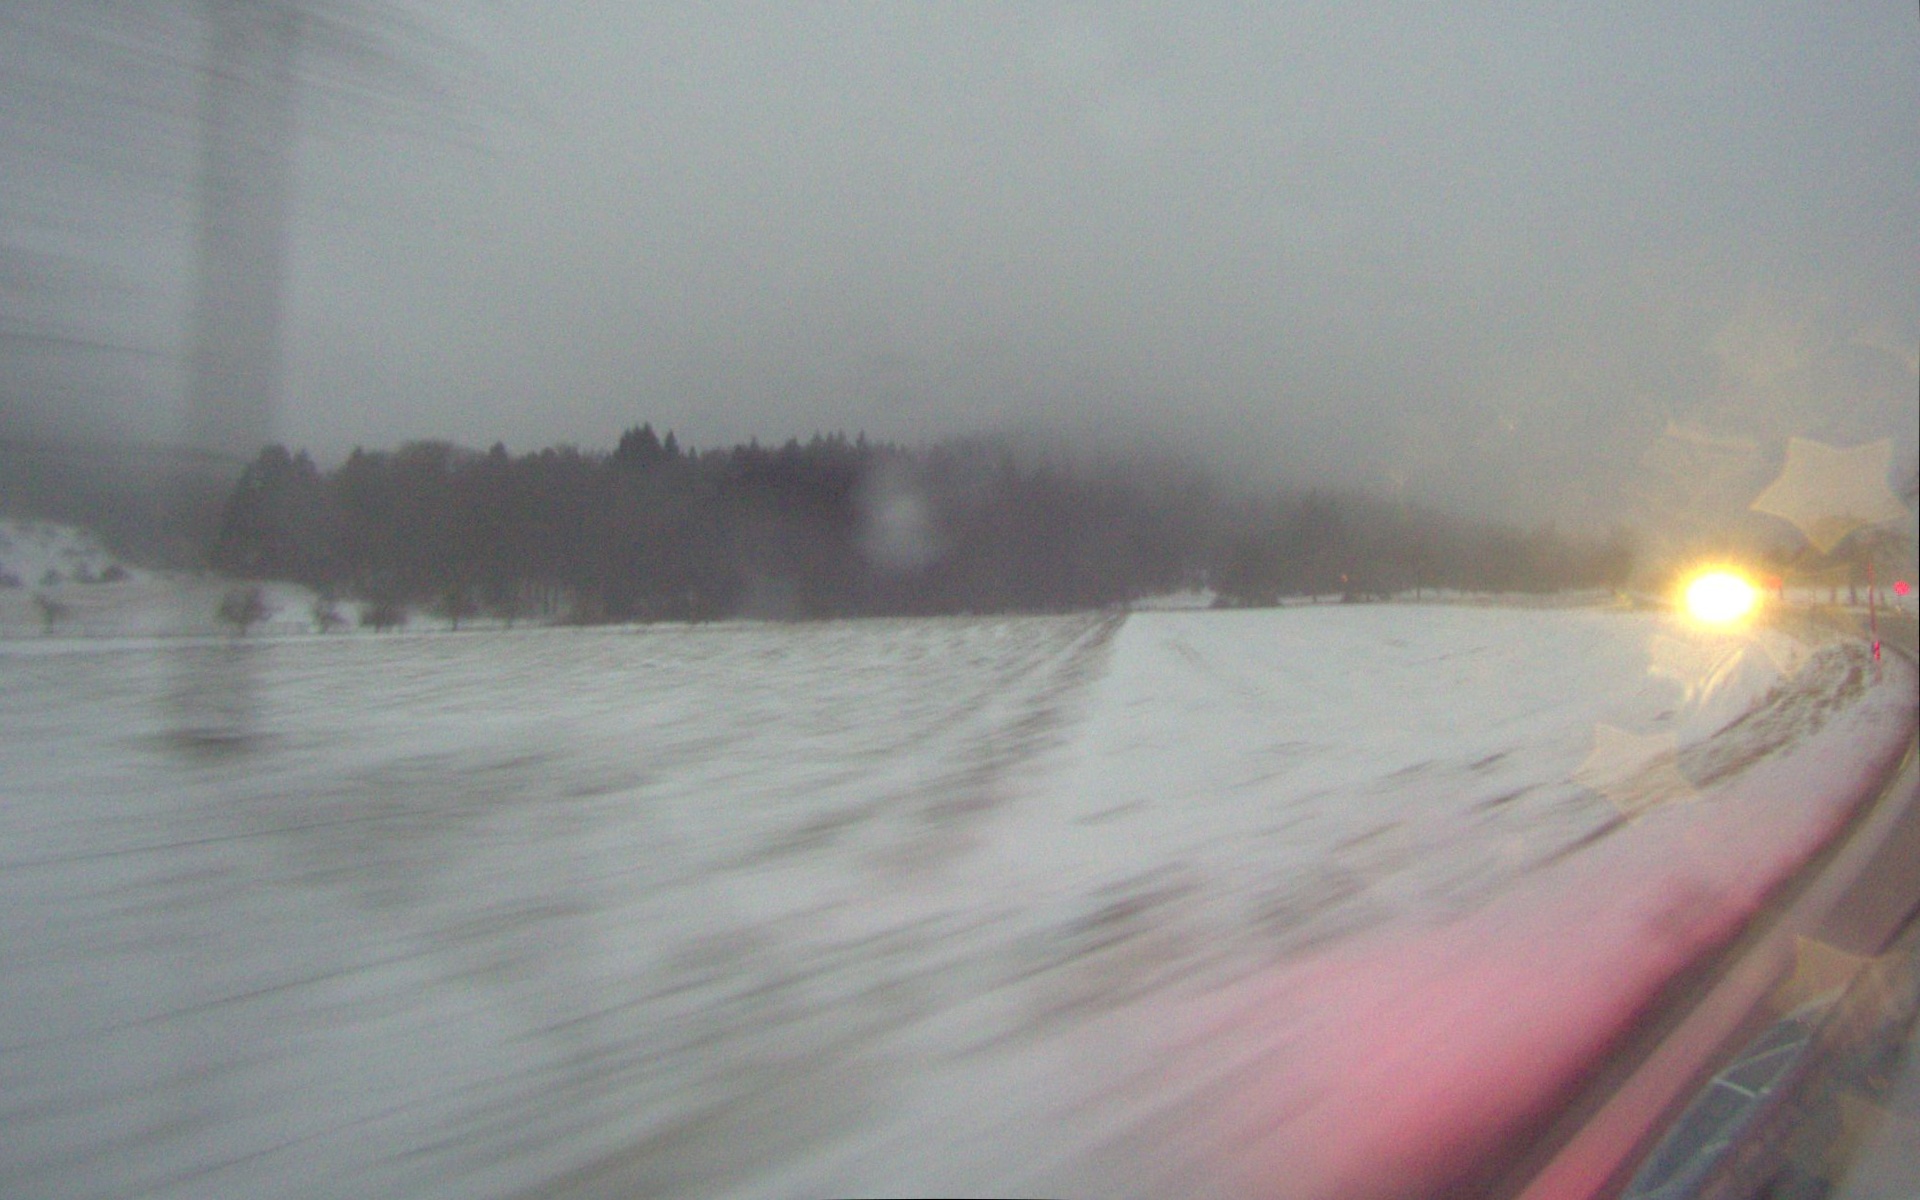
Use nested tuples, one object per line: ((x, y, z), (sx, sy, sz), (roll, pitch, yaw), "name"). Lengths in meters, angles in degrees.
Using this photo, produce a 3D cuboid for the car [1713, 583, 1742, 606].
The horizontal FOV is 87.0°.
((72.609, -0.535, 95.777), (1.987, 2.039, 3.950), (-1, 1, 36), "car")
